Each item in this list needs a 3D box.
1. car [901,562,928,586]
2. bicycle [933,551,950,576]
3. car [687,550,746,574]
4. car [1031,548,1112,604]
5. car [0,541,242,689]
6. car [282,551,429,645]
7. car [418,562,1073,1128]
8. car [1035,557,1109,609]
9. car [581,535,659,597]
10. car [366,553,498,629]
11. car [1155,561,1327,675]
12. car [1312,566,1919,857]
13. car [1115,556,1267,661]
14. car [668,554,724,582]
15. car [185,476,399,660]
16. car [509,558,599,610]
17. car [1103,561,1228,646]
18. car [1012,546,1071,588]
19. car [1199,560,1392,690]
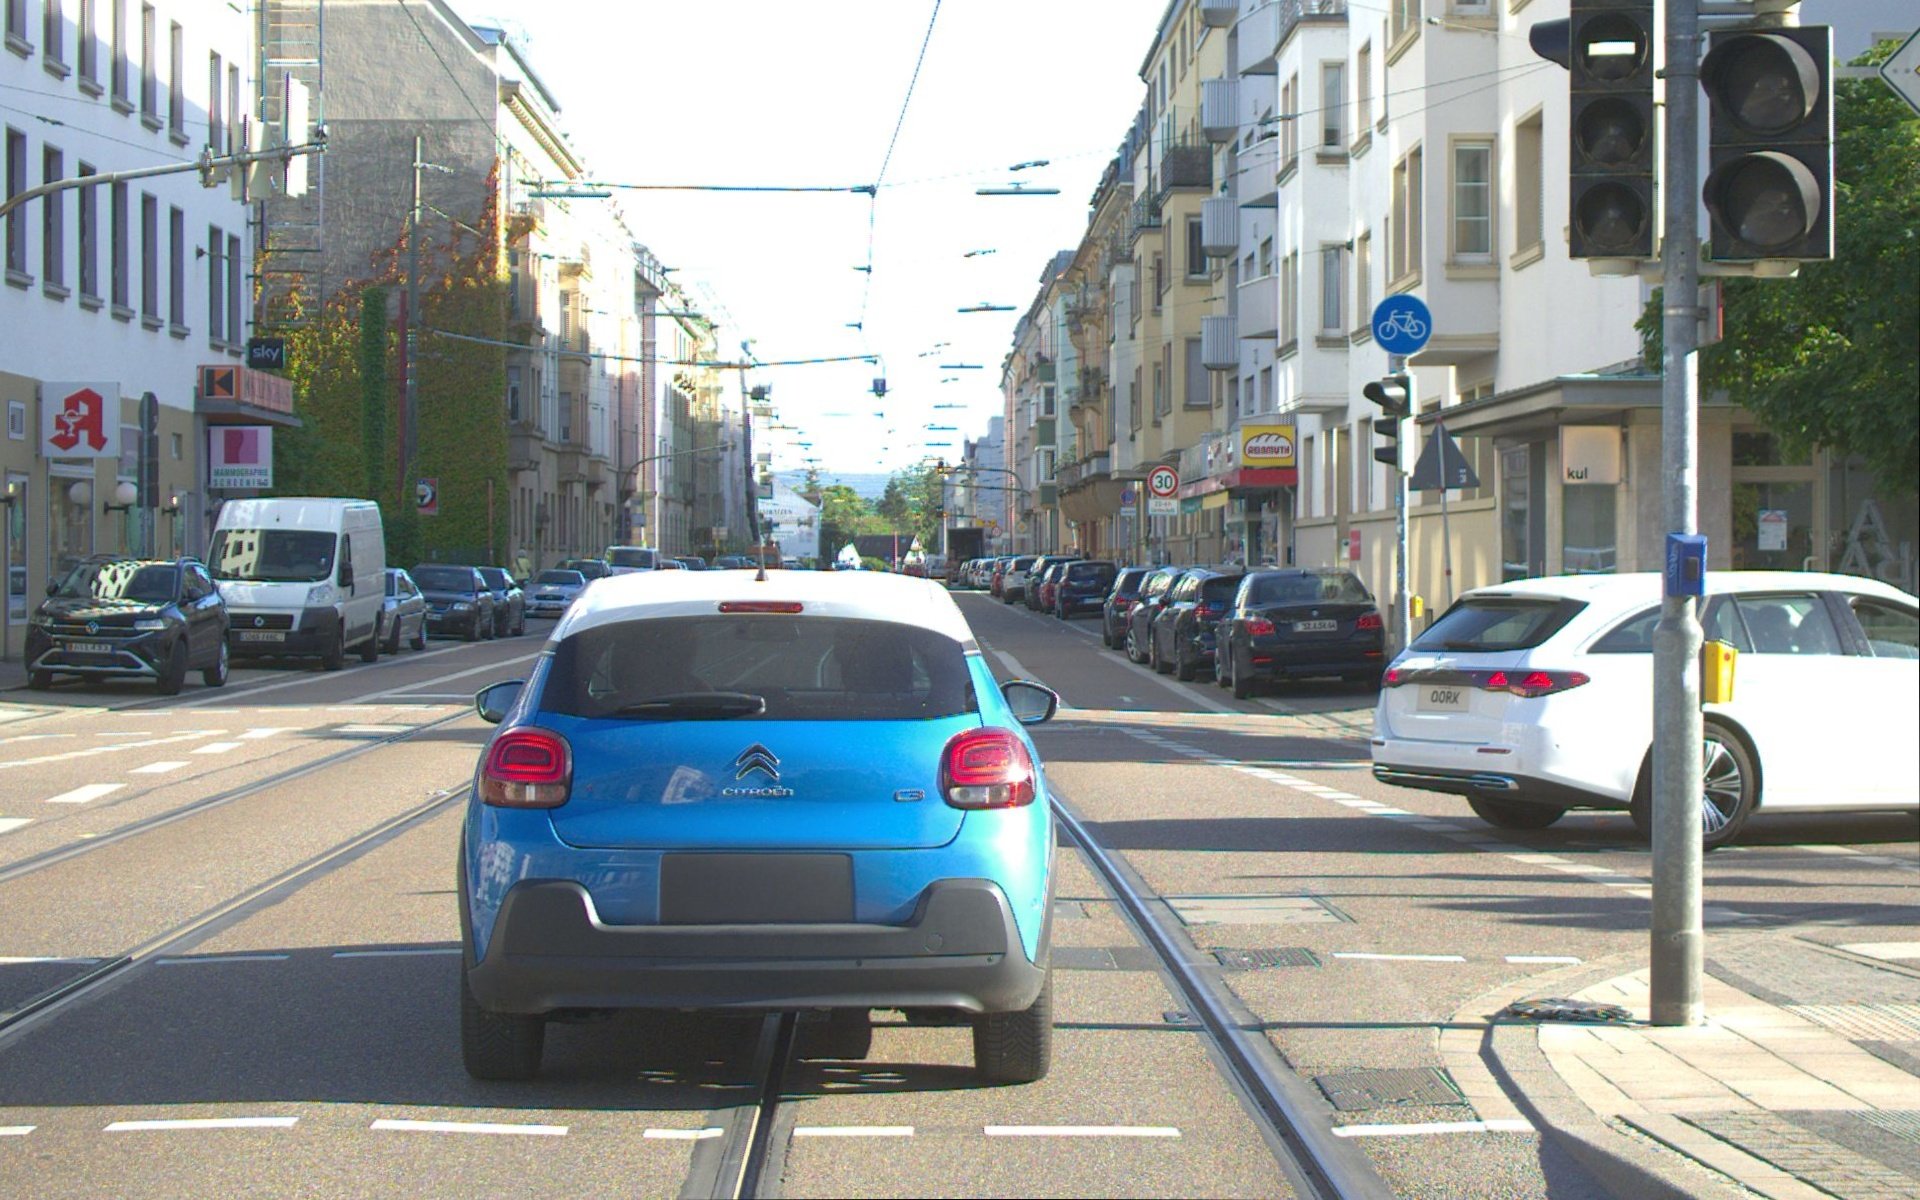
[{"bbox_3d":[-3.360,-1.907,252.954,1.993,1.766,4.000,0,1,-1],"label":"car"},{"bbox_3d":[-1.039,-2.031,192.859,0.920,1.384,3.132,0,1,1],"label":"bicycle"},{"bbox_3d":[-12.248,-1.916,173.216,1.994,1.152,4.513,0,1,9],"label":"car"},{"bbox_3d":[2.902,-0.642,90.318,1.993,1.459,4.504,0,1,0],"label":"car"},{"bbox_3d":[-9.931,0.154,40.672,1.993,1.563,4.403,3,0,-2],"label":"car"},{"bbox_3d":[-10.095,-0.037,57.632,1.888,1.491,3.562,1,0,-2],"label":"car"},{"bbox_3d":[-0.597,0.637,11.111,1.728,1.477,3.827,1,1,-1],"label":"car"},{"bbox_3d":[3.173,-0.507,97.975,1.993,1.459,4.000,0,1,0],"label":"car"},{"bbox_3d":[-11.365,-1.132,115.163,2.006,2.007,4.689,1,0,1],"label":"car"},{"bbox_3d":[-10.146,-0.174,66.316,1.993,1.393,4.157,1,0,-2],"label":"car"},{"bbox_3d":[3.710,0.202,45.996,1.993,1.459,4.000,0,1,0],"label":"car"},{"bbox_3d":[4.578,0.582,19.418,4.798,1.459,1.991,1,1,-25],"label":"car"},{"bbox_3d":[3.380,0.098,50.990,1.993,1.496,4.000,0,1,0],"label":"car"},{"bbox_3d":[-10.923,-1.326,142.310,1.993,1.152,4.000,0,1,0],"label":"car"},{"bbox_3d":[-9.820,-0.479,51.028,2.085,2.533,6.206,1,1,-2],"label":"car"},{"bbox_3d":[-10.786,-0.438,91.534,1.993,1.320,3.923,1,0,-2],"label":"car"},{"bbox_3d":[3.618,0.031,61.187,1.993,1.459,4.000,0,1,0],"label":"car"},{"bbox_3d":[2.860,-1.179,121.493,1.993,1.459,4.000,0,1,0],"label":"car"},{"bbox_3d":[3.912,0.262,40.655,1.909,1.459,4.000,0,1,0],"label":"car"}]
